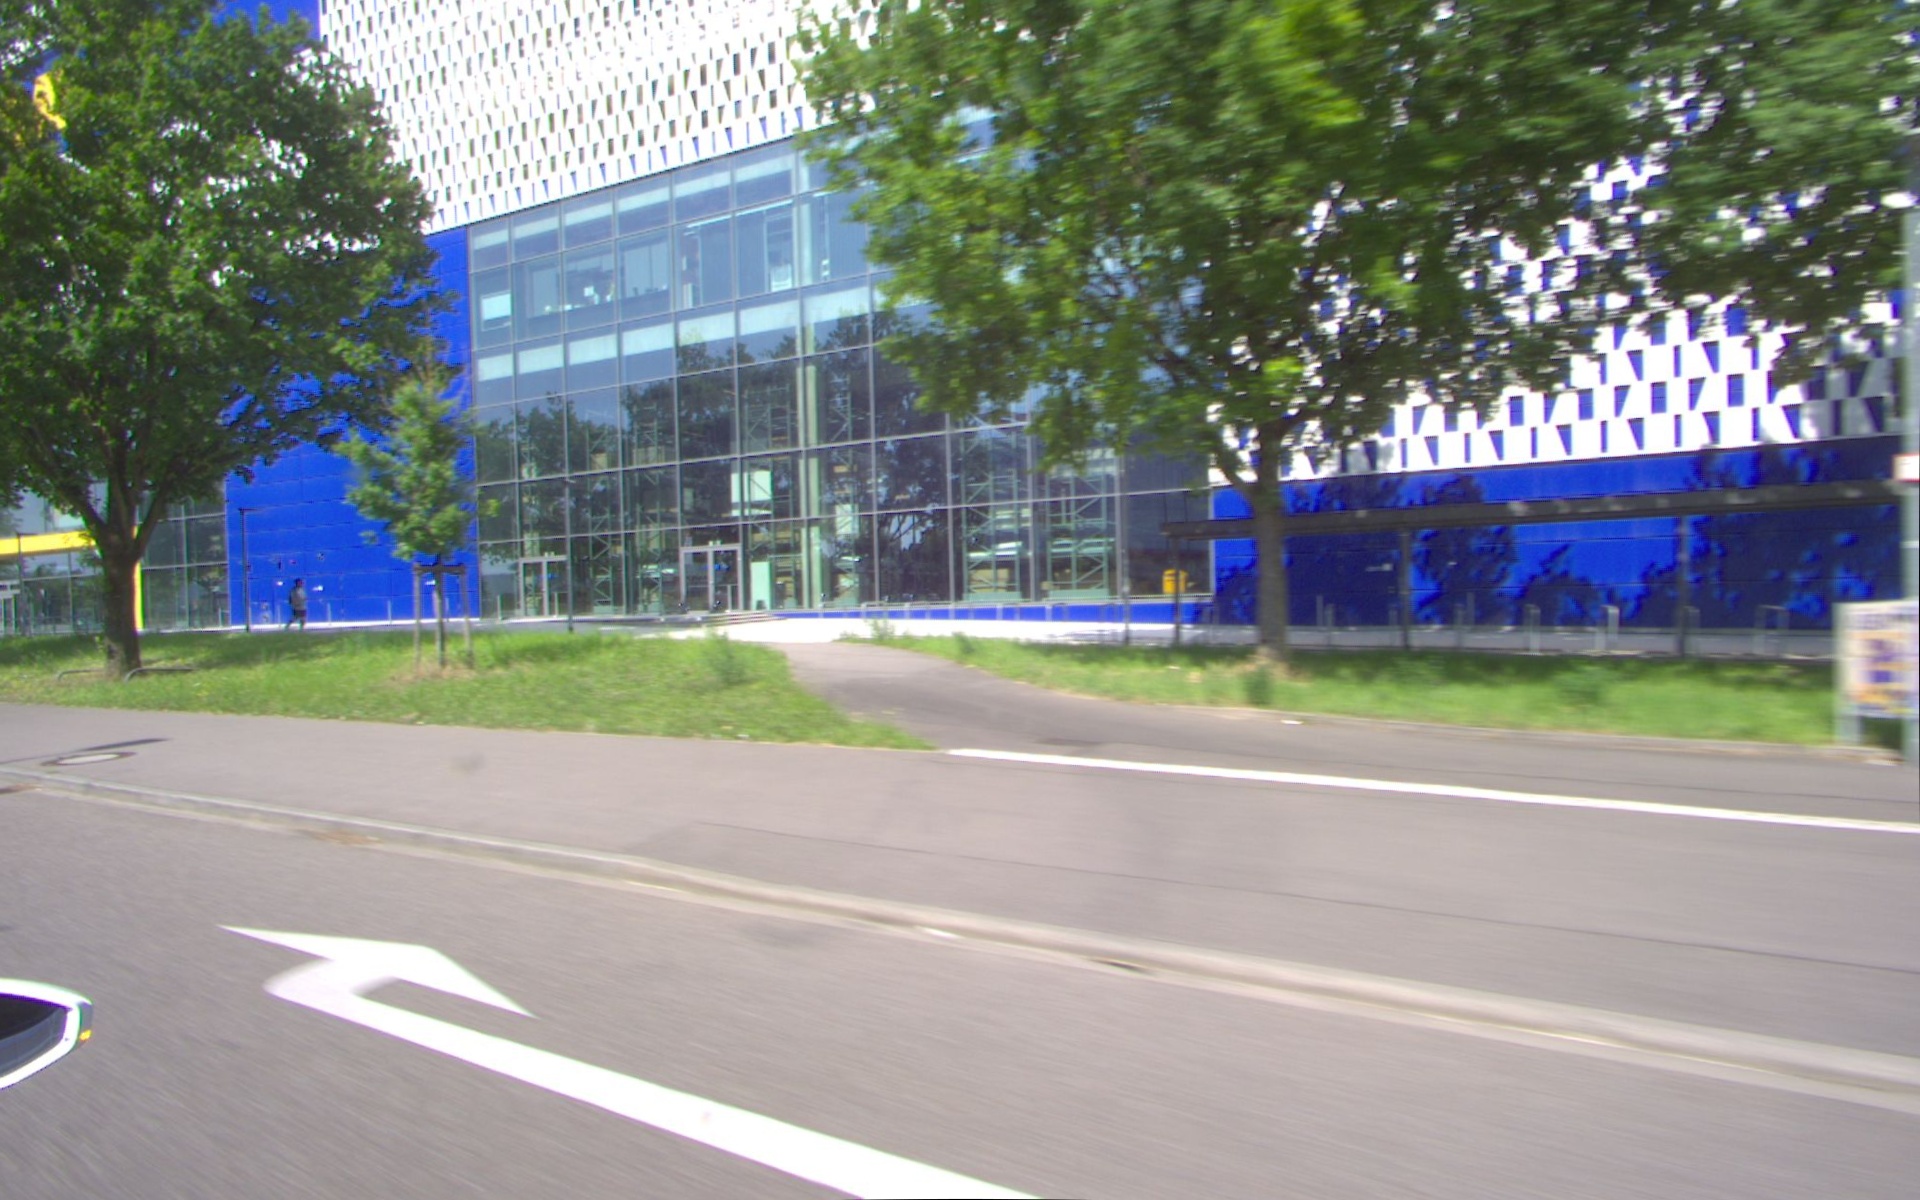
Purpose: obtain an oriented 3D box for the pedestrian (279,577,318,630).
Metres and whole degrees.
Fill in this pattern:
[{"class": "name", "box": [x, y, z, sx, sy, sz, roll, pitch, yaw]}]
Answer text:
[{"class": "pedestrian", "box": [-20.695, 0.114, 31.332, 0.758, 1.634, 0.688, 0, 2, 23]}]
